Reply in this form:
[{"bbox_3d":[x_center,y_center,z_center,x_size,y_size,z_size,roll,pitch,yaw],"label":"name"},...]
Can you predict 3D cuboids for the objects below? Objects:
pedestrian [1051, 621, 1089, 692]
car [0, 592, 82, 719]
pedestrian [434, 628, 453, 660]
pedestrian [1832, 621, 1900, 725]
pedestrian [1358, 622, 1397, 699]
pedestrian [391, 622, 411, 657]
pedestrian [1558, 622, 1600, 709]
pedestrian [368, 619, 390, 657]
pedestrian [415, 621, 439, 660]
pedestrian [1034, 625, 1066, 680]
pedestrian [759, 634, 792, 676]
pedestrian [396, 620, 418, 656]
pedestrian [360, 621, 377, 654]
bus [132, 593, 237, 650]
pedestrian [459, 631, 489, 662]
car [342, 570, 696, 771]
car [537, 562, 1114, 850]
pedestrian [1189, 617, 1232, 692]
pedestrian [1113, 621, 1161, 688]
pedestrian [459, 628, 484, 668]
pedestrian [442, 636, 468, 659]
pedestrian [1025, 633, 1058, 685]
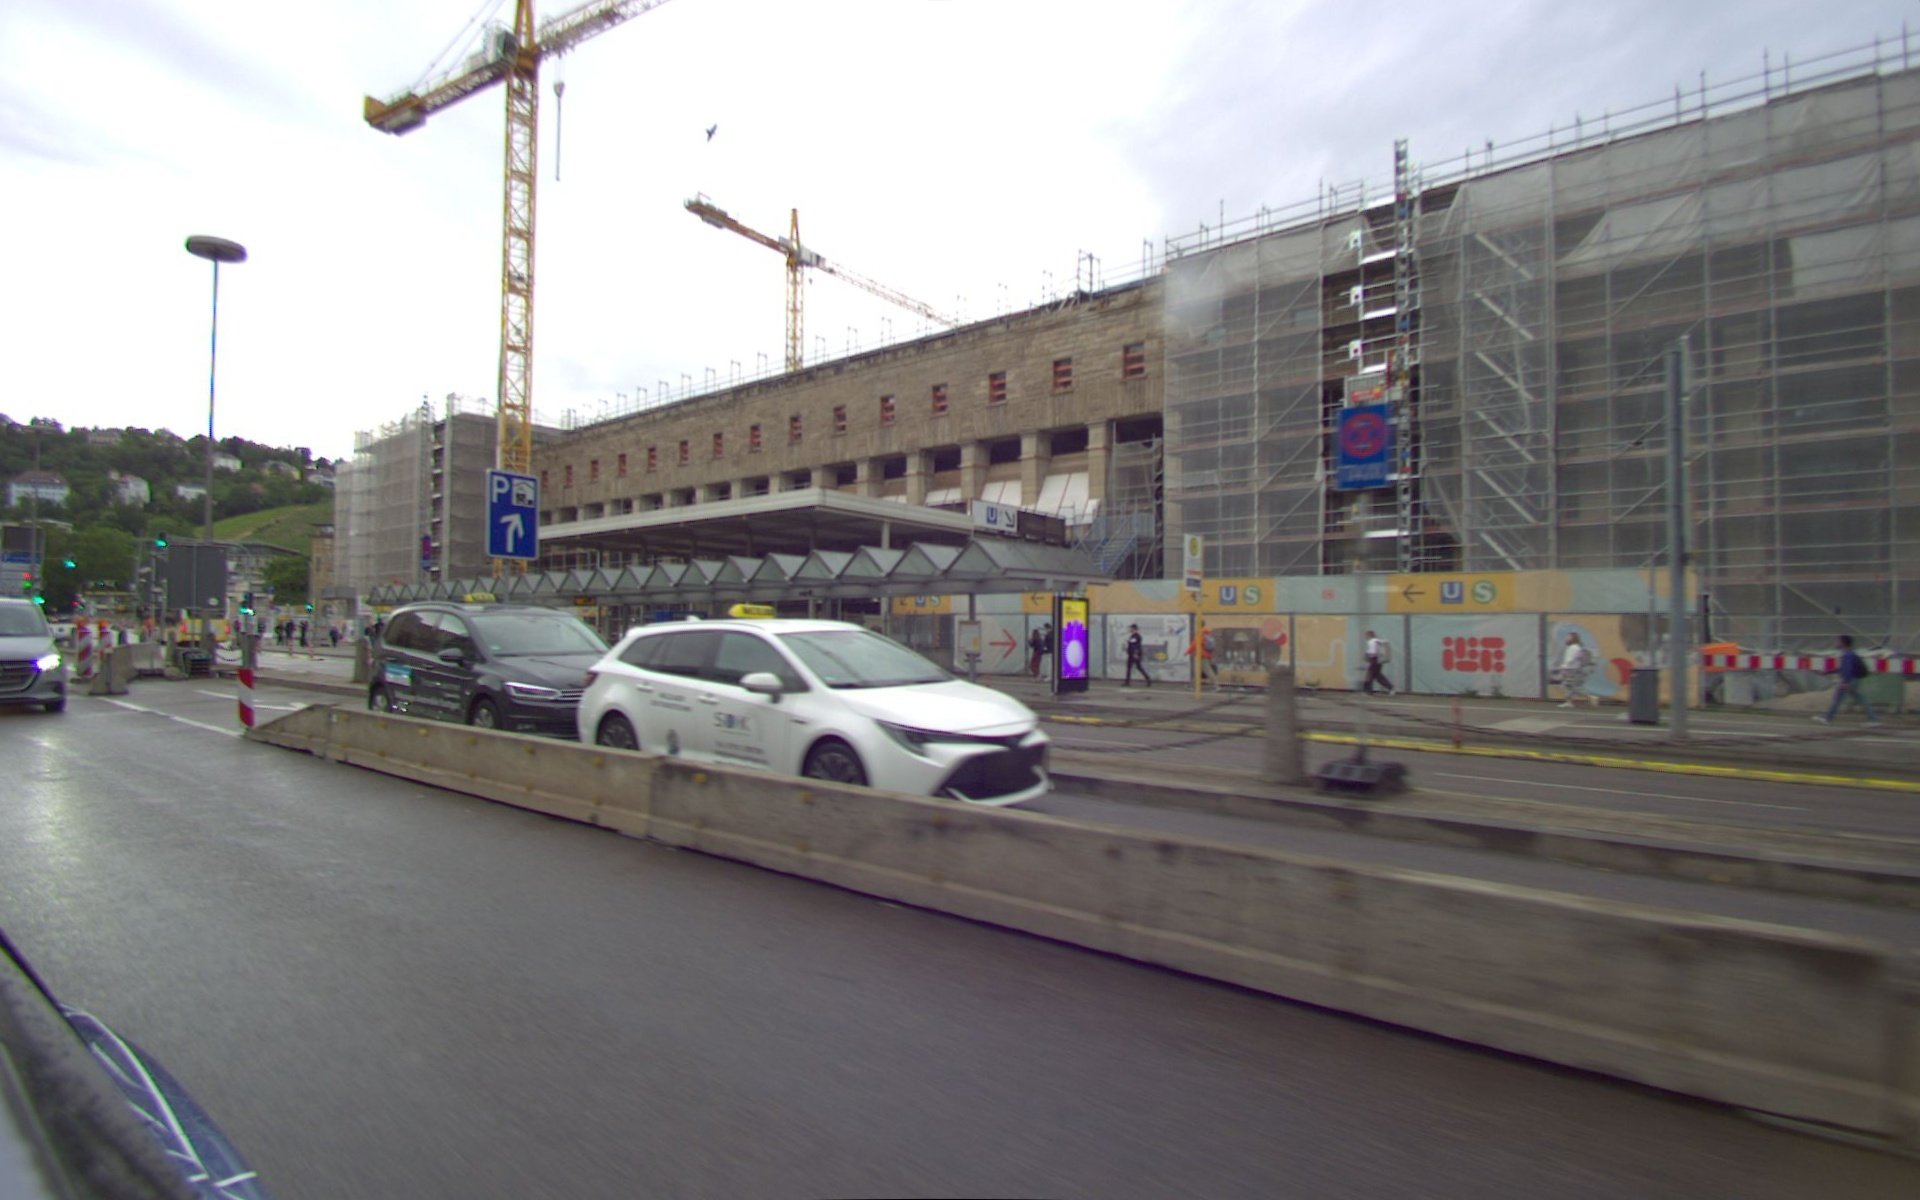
[{"bbox_3d":[2.917,1.482,26.897,0.734,1.855,0.704,1,-2,-29],"label":"pedestrian"},{"bbox_3d":[-16.485,0.865,16.854,5.245,1.919,1.974,-1,-1,39],"label":"car"},{"bbox_3d":[-26.742,2.281,52.409,0.803,1.643,0.551,-1,-2,33],"label":"pedestrian"},{"bbox_3d":[16.590,1.308,18.541,0.868,1.855,0.793,-1,-2,44],"label":"pedestrian"},{"bbox_3d":[10.227,1.460,24.790,0.656,1.855,0.734,-1,-2,44],"label":"pedestrian"},{"bbox_3d":[-29.048,2.054,52.590,0.803,1.804,0.551,-1,-2,33],"label":"pedestrian"},{"bbox_3d":[13.505,1.400,22.071,0.612,1.855,0.713,-1,-2,44],"label":"pedestrian"},{"bbox_3d":[-30.440,1.971,53.032,0.821,1.974,0.752,-1,-2,39],"label":"pedestrian"},{"bbox_3d":[-24.973,1.910,47.411,0.766,1.804,0.861,1,-2,-42],"label":"pedestrian"},{"bbox_3d":[2.800,1.619,31.427,0.700,1.683,0.795,-1,-2,36],"label":"pedestrian"},{"bbox_3d":[-6.000,1.765,32.909,0.804,1.336,0.692,-1,-2,40],"label":"pedestrian"},{"bbox_3d":[-28.076,1.944,51.347,0.746,1.804,0.717,-1,-2,35],"label":"pedestrian"},{"bbox_3d":[-32.536,2.053,55.701,0.690,1.804,0.796,1,-2,-37],"label":"pedestrian"},{"bbox_3d":[-55.132,1.514,71.570,19.081,3.605,2.877,-1,-3,44],"label":"bus"},{"bbox_3d":[-23.238,2.200,48.393,0.830,1.443,1.044,-1,-2,40],"label":"pedestrian"},{"bbox_3d":[-5.304,0.725,11.830,4.831,1.876,1.972,-1,-3,42],"label":"car"},{"bbox_3d":[-1.323,0.694,8.366,4.828,1.719,1.974,-1,-3,39],"label":"car"},{"bbox_3d":[6.767,1.455,27.314,0.863,1.954,0.735,-1,0,37],"label":"pedestrian"},{"bbox_3d":[5.068,1.538,28.989,1.044,1.855,0.848,-1,0,41],"label":"pedestrian"},{"bbox_3d":[-22.066,2.147,45.742,0.773,1.804,0.672,0,-2,4],"label":"pedestrian"},{"bbox_3d":[-24.796,2.319,49.669,0.925,1.101,0.835,-1,-2,40],"label":"pedestrian"},{"bbox_3d":[2.503,1.797,30.999,0.700,1.559,0.795,-1,-2,36],"label":"pedestrian"}]
